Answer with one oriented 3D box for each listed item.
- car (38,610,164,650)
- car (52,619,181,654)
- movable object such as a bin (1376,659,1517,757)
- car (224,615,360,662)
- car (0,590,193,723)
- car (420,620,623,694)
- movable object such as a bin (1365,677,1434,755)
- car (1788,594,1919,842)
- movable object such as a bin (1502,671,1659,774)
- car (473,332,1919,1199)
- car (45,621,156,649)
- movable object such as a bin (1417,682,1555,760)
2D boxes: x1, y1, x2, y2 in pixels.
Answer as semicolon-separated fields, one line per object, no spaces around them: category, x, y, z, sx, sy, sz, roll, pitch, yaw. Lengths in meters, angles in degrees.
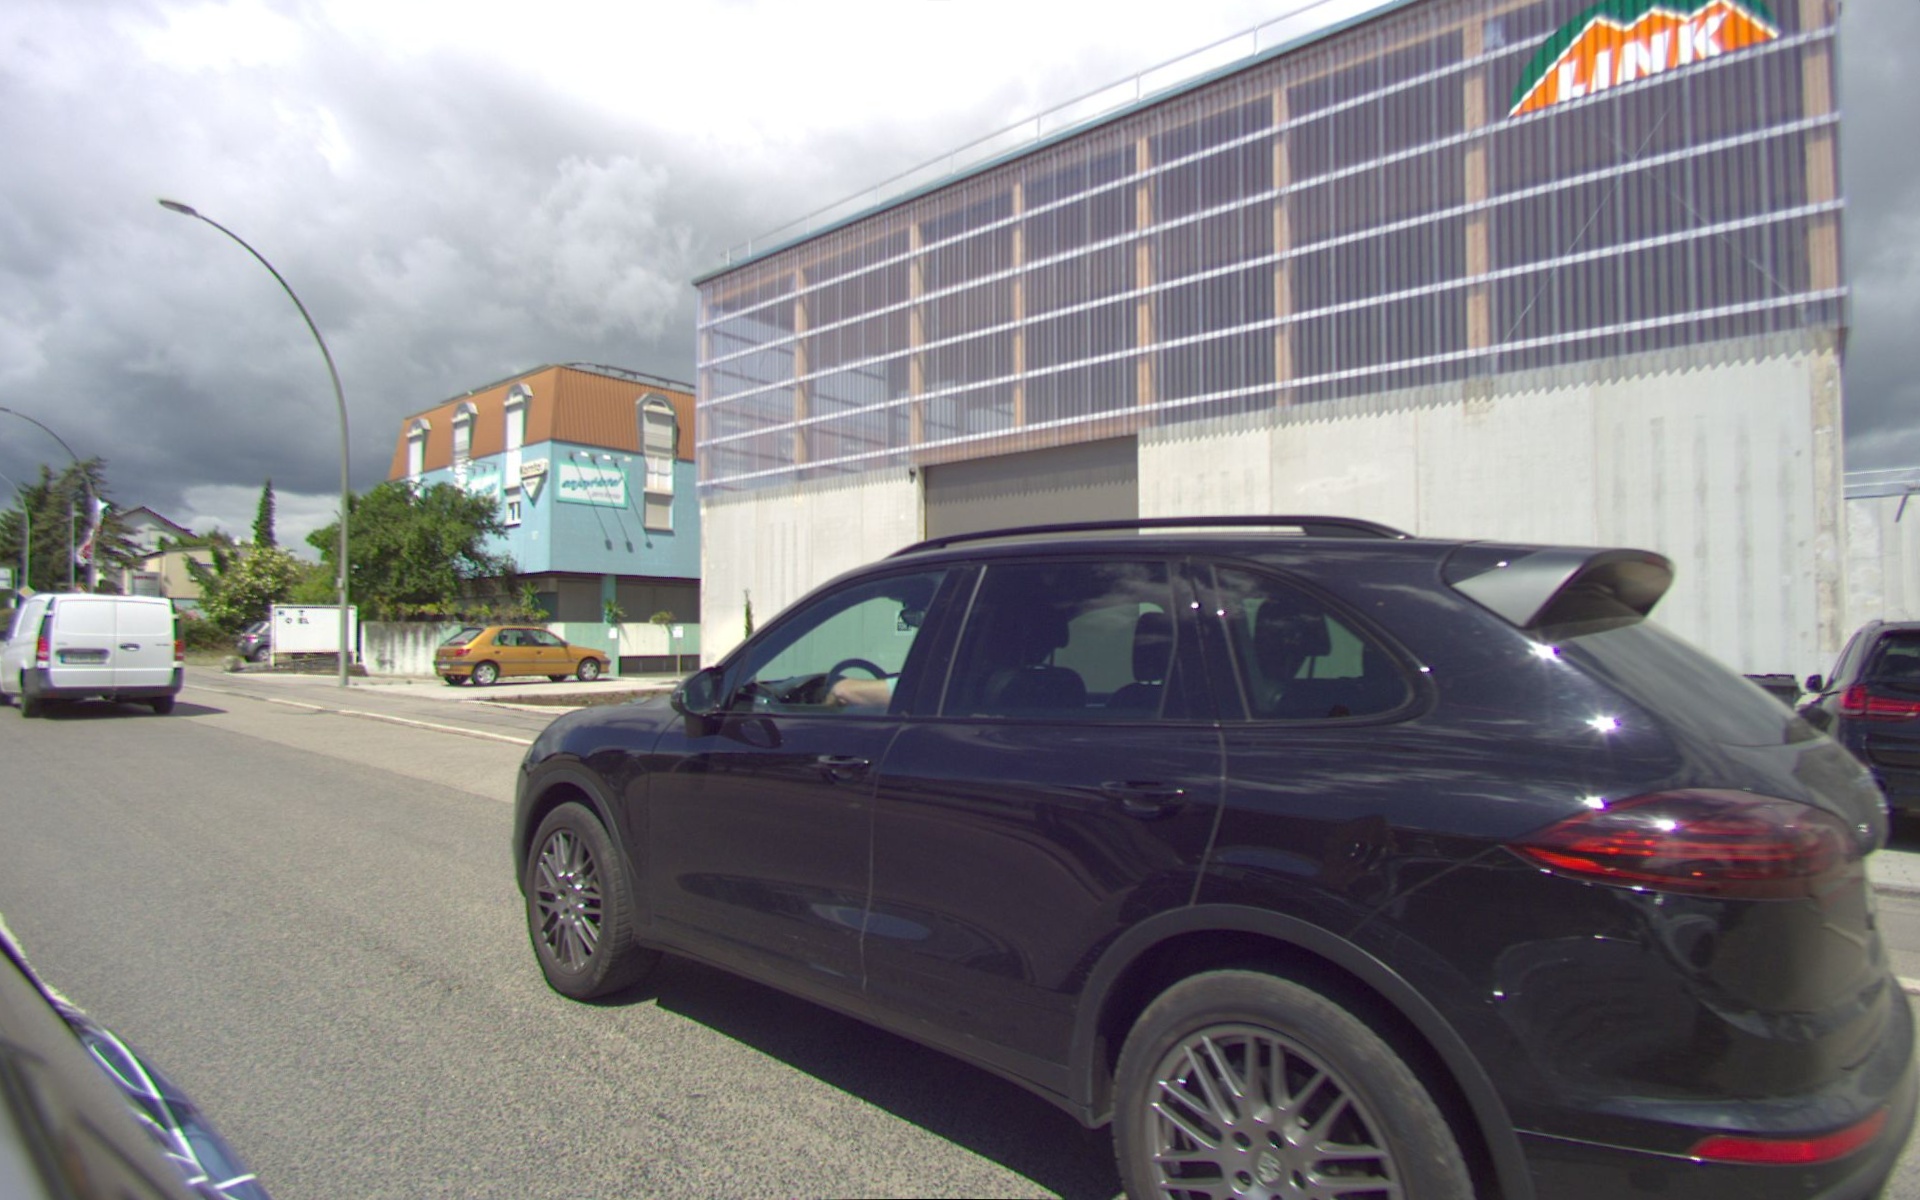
car;-44.388;1.551;52.389;2.112;1.987;4.607;-2;-2;37
car;-39.030;1.675;46.890;1.871;1.489;4.329;0;-1;41
movable object such as a bin;7.763;1.681;16.181;1.818;1.366;0.947;-2;0;43
car;-23.282;1.315;35.337;1.979;1.544;3.588;-2;-2;43
car;-14.693;0.888;16.847;5.113;1.903;1.973;-2;-3;40
car;-10.469;1.298;24.395;1.823;1.503;4.111;-2;0;37
movable object such as a bin;6.294;1.637;14.486;0.711;1.038;0.735;-2;-4;42
car;8.236;0.943;8.165;2.194;1.645;4.583;-2;-5;37
movable object such as a bin;9.127;1.757;14.925;1.818;1.366;0.947;-2;-4;43
car;0.402;0.597;3.364;4.545;1.746;1.973;-2;-3;41
car;-42.916;1.754;50.587;1.870;1.325;3.947;0;-2;39
movable object such as a bin;7.117;1.606;13.728;1.518;0.926;0.735;-2;-4;43
